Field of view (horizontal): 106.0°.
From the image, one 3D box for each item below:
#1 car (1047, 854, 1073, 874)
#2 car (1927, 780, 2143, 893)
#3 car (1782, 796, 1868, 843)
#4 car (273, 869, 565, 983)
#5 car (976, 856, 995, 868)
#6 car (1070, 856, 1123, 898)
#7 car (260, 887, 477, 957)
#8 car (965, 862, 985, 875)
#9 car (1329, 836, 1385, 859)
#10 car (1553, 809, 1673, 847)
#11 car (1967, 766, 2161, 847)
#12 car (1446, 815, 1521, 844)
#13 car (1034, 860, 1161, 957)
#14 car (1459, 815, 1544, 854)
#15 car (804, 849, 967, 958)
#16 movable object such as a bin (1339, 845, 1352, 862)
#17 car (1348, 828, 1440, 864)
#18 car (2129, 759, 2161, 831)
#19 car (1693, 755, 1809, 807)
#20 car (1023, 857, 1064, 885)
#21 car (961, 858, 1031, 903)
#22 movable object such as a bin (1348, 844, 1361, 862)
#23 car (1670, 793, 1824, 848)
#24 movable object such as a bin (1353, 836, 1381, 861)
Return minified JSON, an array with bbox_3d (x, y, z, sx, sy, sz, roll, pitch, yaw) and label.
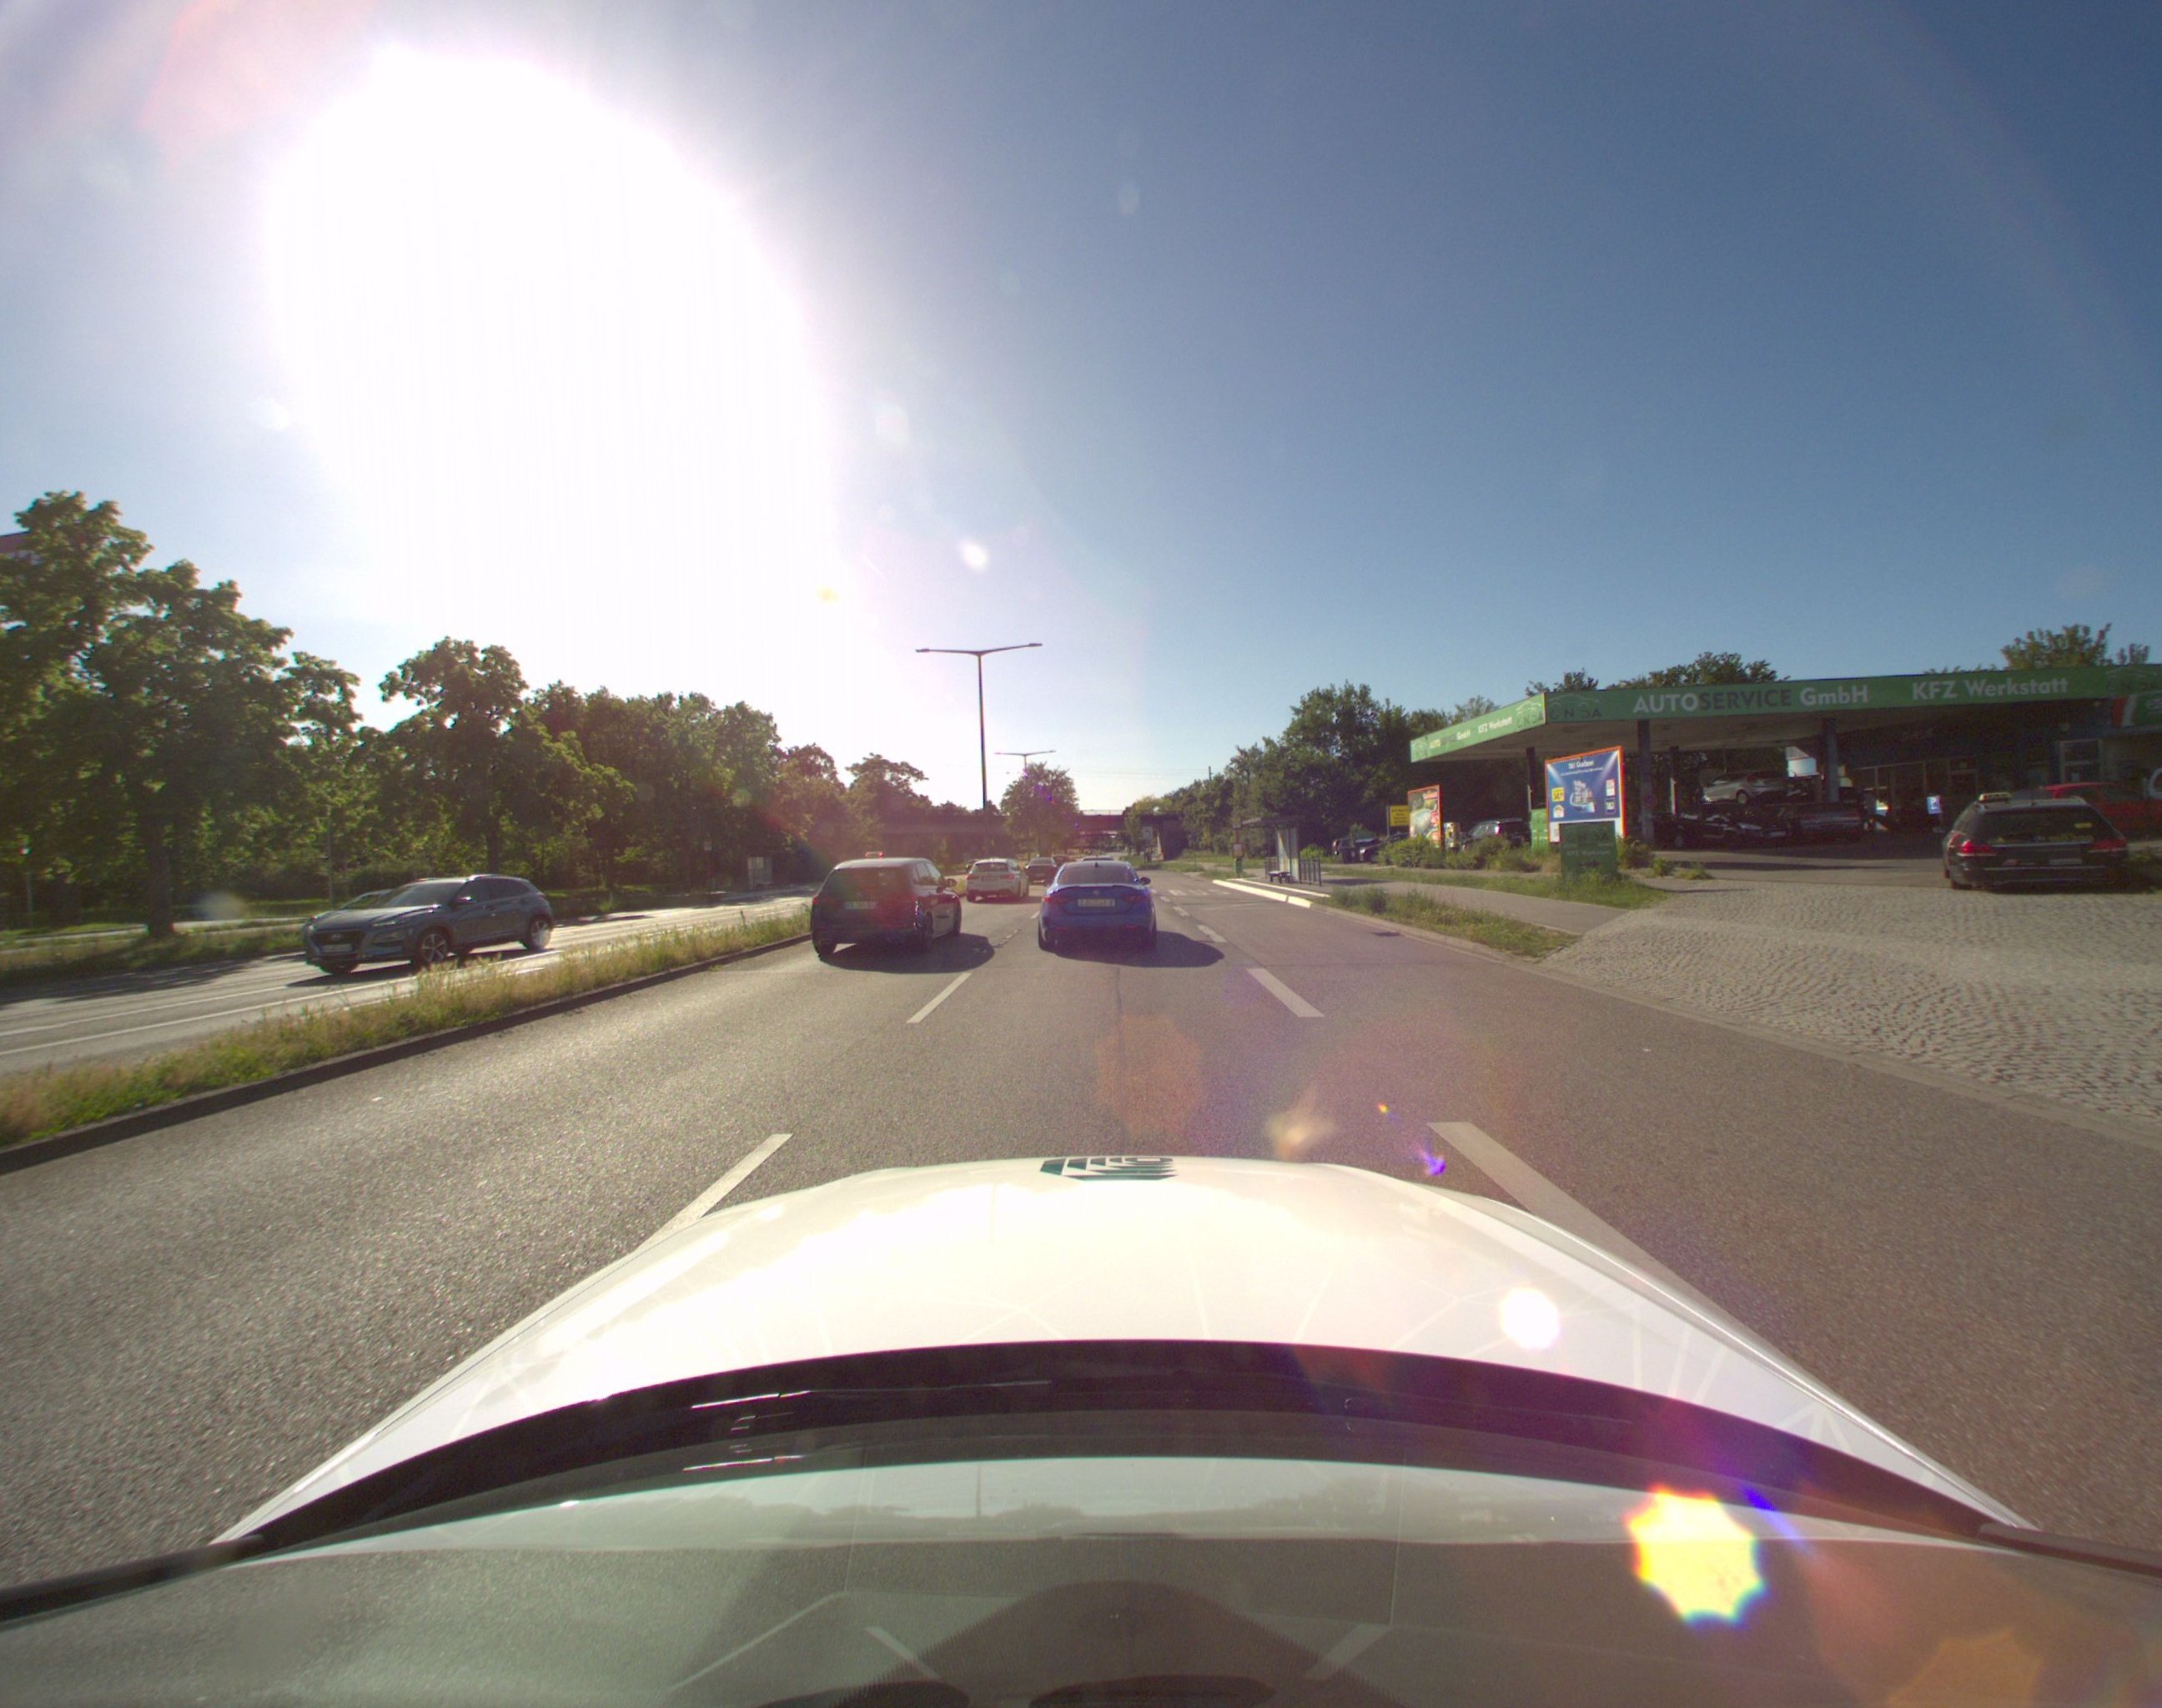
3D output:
[{"bbox_3d":[-1.671,0.767,65.752,1.773,1.454,4.183,-3,0,2],"label":"car"},{"bbox_3d":[15.800,-0.363,13.760,1.877,1.531,4.865,-5,0,45],"label":"car"},{"bbox_3d":[24.639,-1.118,27.090,1.671,1.421,3.727,-1,1,36],"label":"car"},{"bbox_3d":[-11.987,1.200,15.204,1.867,1.642,4.172,-4,0,2],"label":"car"},{"bbox_3d":[-12.863,1.058,110.324,1.811,1.435,4.632,-4,0,1],"label":"car"},{"bbox_3d":[0.633,0.822,31.331,1.876,1.454,4.528,-1,0,2],"label":"car"},{"bbox_3d":[-18.776,1.728,21.785,1.986,1.474,4.197,-3,0,2],"label":"car"},{"bbox_3d":[-12.707,1.716,98.066,1.635,1.451,4.113,-4,0,1],"label":"car"},{"bbox_3d":[18.655,-0.409,55.164,3.270,1.486,1.773,-1,0,3],"label":"car"},{"bbox_3d":[23.332,-1.115,35.814,2.008,1.486,3.957,-1,0,-35],"label":"car"},{"bbox_3d":[26.498,-1.261,21.621,3.752,1.547,1.849,-8,-3,0],"label":"car"},{"bbox_3d":[26.416,-1.614,53.545,4.021,1.531,1.735,-5,-1,3],"label":"car"},{"bbox_3d":[0.312,0.828,14.318,1.876,1.406,4.225,-1,0,2],"label":"car"},{"bbox_3d":[18.797,-0.821,36.614,1.737,1.573,4.252,-3,0,3],"label":"car"},{"bbox_3d":[-3.220,0.750,14.293,1.701,1.598,4.225,-1,0,2],"label":"car"},{"bbox_3d":[16.406,-0.028,50.499,0.585,1.074,0.504,-2,0,-40],"label":"movable object such as a bin"},{"bbox_3d":[17.904,-0.456,46.639,4.501,1.640,1.813,-5,-1,31],"label":"car"},{"bbox_3d":[30.924,-1.639,21.608,3.677,1.907,1.925,-1,0,1],"label":"car"},{"bbox_3d":[28.727,-3.088,35.094,1.911,1.755,3.781,-3,-1,3],"label":"car"},{"bbox_3d":[-2.001,0.889,44.810,1.876,1.454,4.528,-1,0,2],"label":"car"},{"bbox_3d":[-2.933,0.885,29.029,1.876,1.454,4.528,-1,0,2],"label":"car"},{"bbox_3d":[16.856,-0.065,50.158,0.585,1.121,0.504,-2,0,-40],"label":"movable object such as a bin"},{"bbox_3d":[22.313,-1.072,27.514,1.986,1.647,4.001,-1,0,2],"label":"car"},{"bbox_3d":[17.330,-0.336,49.412,0.994,1.428,1.245,-2,0,-41],"label":"movable object such as a bin"}]
